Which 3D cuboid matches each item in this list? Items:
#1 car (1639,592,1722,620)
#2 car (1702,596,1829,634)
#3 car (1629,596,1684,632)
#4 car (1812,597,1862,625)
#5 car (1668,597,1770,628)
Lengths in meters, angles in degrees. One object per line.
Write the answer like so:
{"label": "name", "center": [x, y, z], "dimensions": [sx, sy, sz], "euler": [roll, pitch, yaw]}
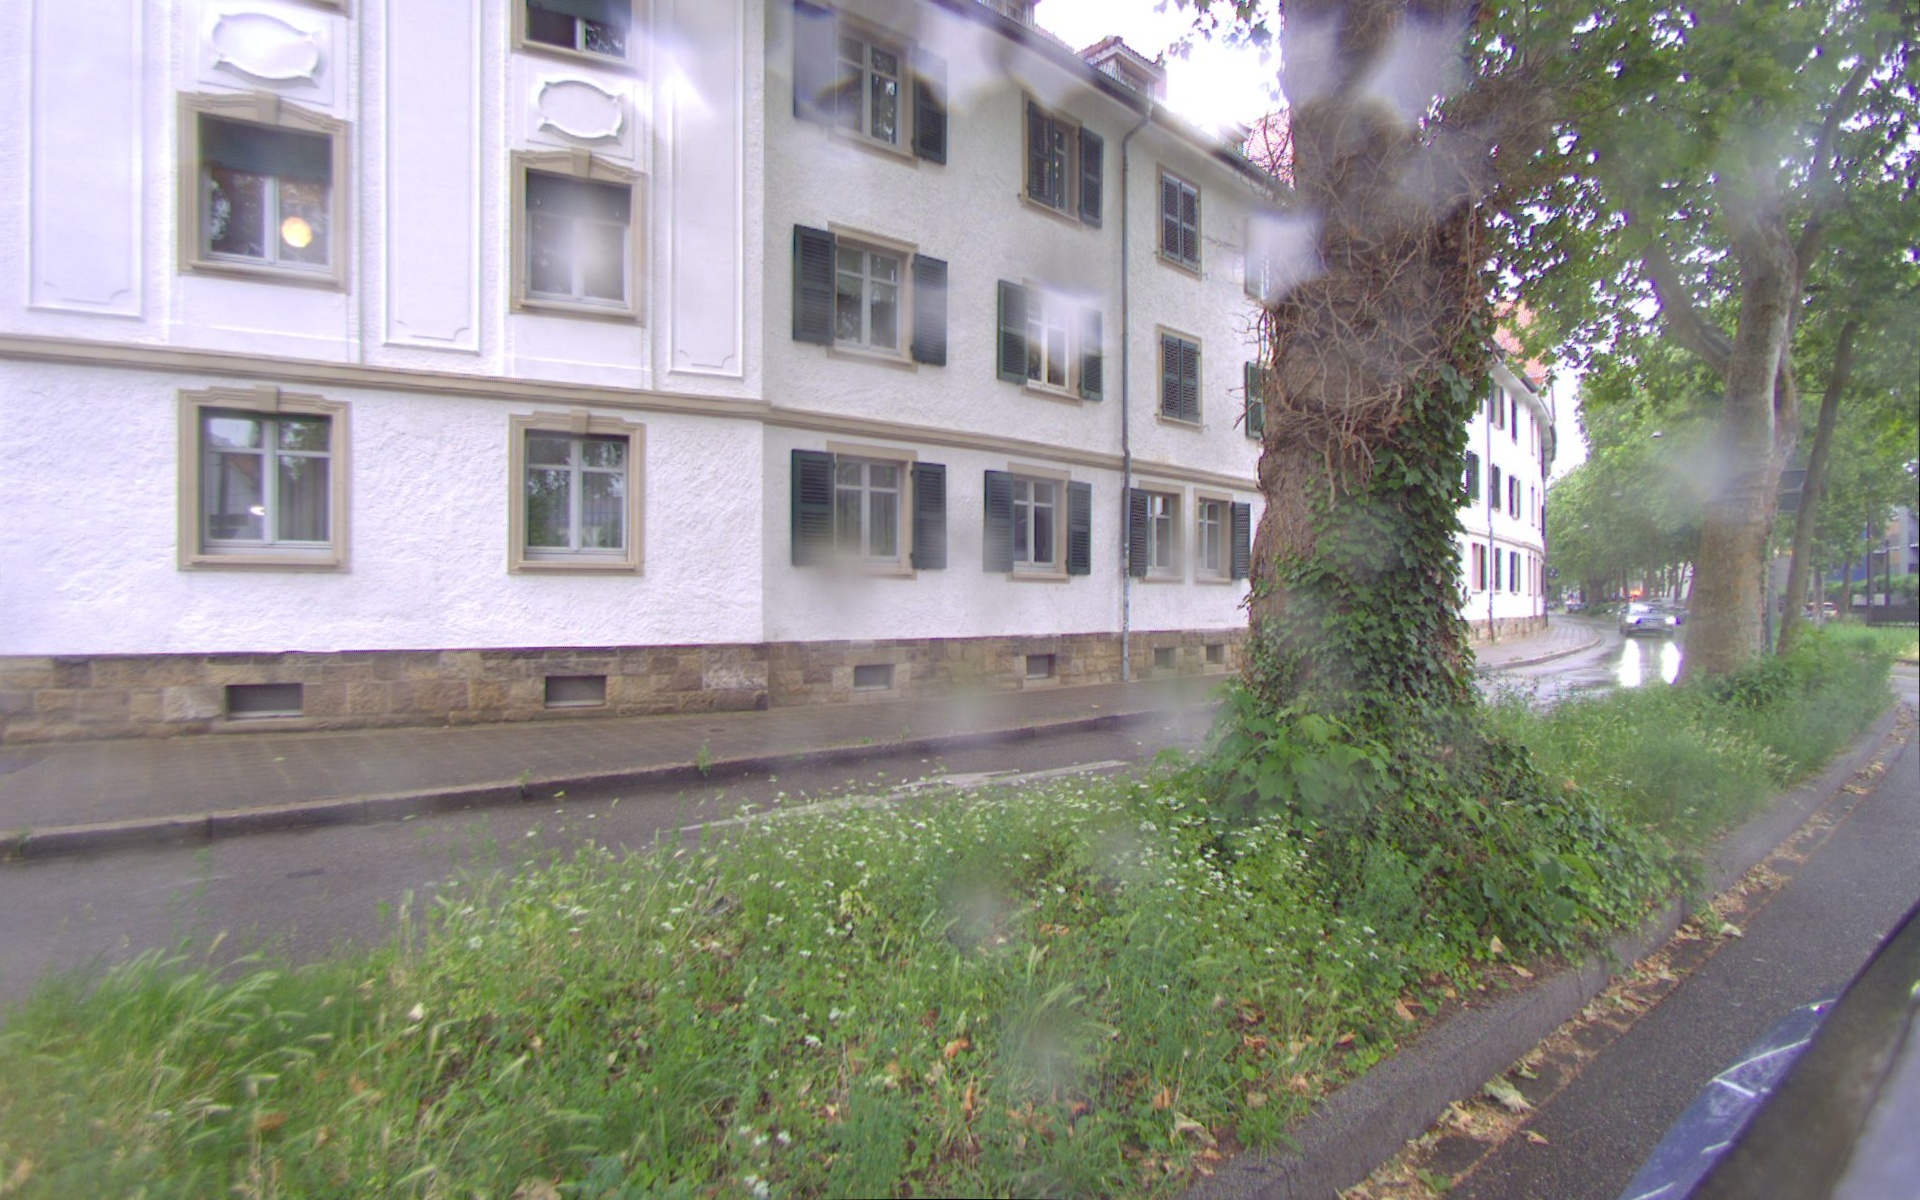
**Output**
{"label": "car", "center": [56.582, 0.430, 79.572], "dimensions": [1.960, 2.039, 4.899], "euler": [1, 1, -30]}
{"label": "car", "center": [37.648, 0.662, 47.386], "dimensions": [1.892, 1.560, 4.236], "euler": [1, 1, -30]}
{"label": "car", "center": [32.888, 0.621, 47.869], "dimensions": [1.837, 1.616, 4.170], "euler": [1, 0, 31]}
{"label": "car", "center": [57.723, 0.705, 66.684], "dimensions": [1.677, 1.745, 3.656], "euler": [2, 1, 28]}
{"label": "car", "center": [43.430, 0.691, 58.020], "dimensions": [1.715, 1.632, 4.335], "euler": [1, 1, -35]}
